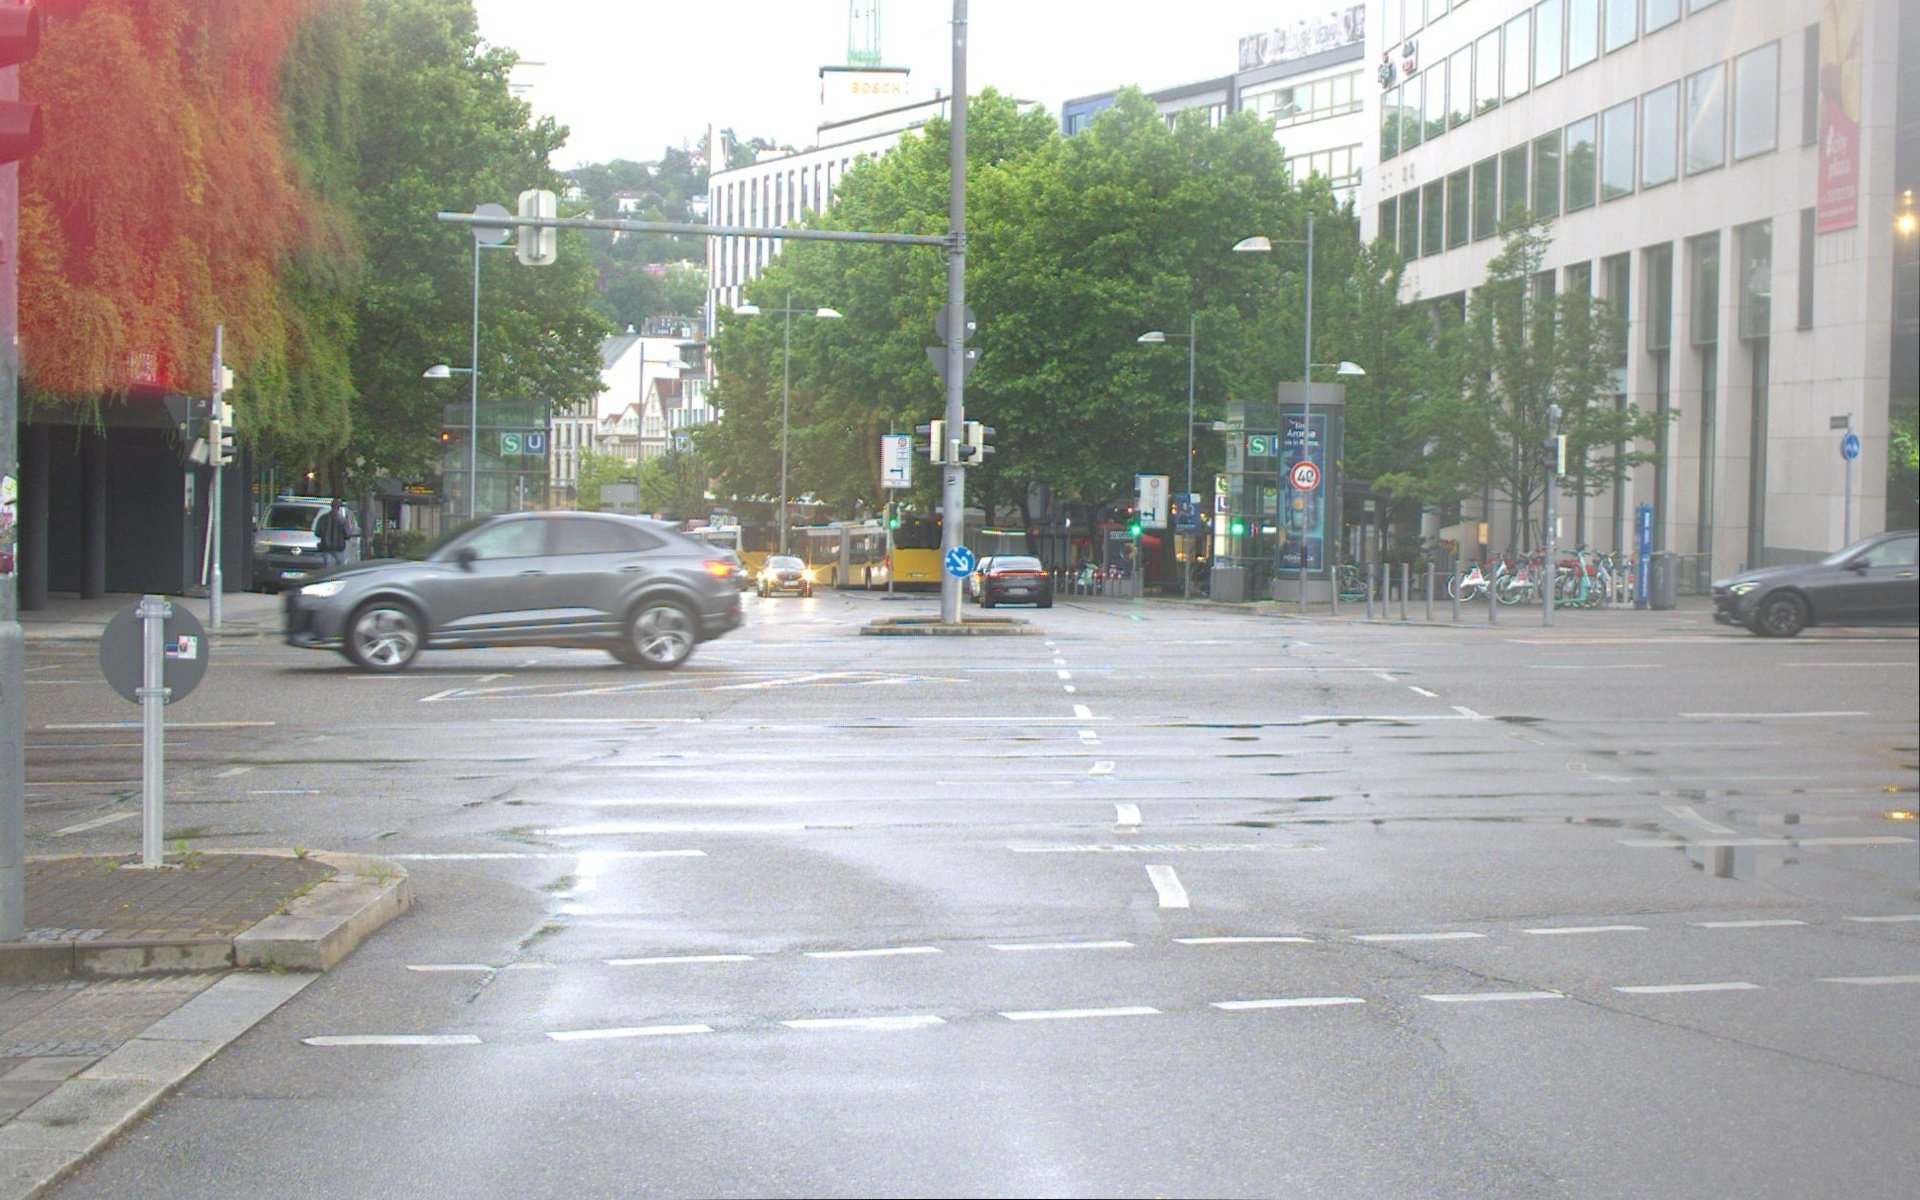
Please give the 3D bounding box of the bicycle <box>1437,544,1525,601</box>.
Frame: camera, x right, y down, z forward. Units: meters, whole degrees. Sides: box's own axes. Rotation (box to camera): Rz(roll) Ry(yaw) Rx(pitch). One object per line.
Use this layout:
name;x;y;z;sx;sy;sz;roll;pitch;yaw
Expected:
bicycle;11.123;-0.590;73.420;1.777;1.190;0.586;1;0;2

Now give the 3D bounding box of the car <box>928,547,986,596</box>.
car;-0.109;-0.922;109.527;1.781;1.503;4.000;1;1;-1

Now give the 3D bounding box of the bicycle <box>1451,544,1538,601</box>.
bicycle;11.551;-0.593;74.337;1.777;1.190;0.586;1;0;2

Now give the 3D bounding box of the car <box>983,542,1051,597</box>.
car;1.585;-0.857;96.567;1.781;1.503;4.000;1;1;-1

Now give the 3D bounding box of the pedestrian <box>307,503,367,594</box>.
pedestrian;-11.342;-0.942;62.633;0.933;1.638;0.774;1;0;-1

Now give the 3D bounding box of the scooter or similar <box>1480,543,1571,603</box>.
scooter or similar;11.668;-0.558;70.994;1.777;1.190;0.586;1;0;2

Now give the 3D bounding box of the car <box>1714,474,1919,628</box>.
car;12.605;-0.640;46.221;4.654;2.007;1.549;1;0;6

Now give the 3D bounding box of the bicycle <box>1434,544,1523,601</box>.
bicycle;10.975;-0.586;72.785;1.777;1.190;0.586;1;0;2

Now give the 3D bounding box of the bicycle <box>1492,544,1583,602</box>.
bicycle;12.022;-0.559;71.616;1.777;1.190;0.586;1;0;2

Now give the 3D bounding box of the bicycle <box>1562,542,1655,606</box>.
bicycle;12.234;-0.489;64.854;1.624;1.190;0.586;1;0;26

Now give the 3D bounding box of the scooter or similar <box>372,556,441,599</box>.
scooter or similar;-13.287;-0.540;82.557;0.623;1.001;1.657;1;1;38

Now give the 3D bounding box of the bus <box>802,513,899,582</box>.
bus;-4.920;-2.360;153.097;2.627;2.985;7.451;0;1;-16

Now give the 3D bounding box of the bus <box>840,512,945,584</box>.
bus;-2.906;-2.220;145.951;2.627;2.985;7.451;0;1;-16

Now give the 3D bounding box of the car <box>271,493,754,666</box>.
car;-4.423;-0.196;33.816;4.473;1.603;1.832;1;1;-16

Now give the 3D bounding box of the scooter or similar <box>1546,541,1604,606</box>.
scooter or similar;11.480;-0.492;64.170;0.963;1.190;0.454;1;1;40

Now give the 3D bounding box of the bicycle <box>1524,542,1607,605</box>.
bicycle;11.691;-0.512;66.406;0.584;1.190;1.784;1;1;-28

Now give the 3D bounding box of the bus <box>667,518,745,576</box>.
bus;-13.379;-2.814;180.338;2.627;2.985;7.451;0;1;-16

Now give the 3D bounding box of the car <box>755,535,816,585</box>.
car;-6.357;-1.447;124.864;2.164;1.759;5.113;0;1;-3

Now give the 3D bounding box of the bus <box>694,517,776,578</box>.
bus;-11.364;-2.654;173.242;2.627;2.985;7.330;0;1;-16

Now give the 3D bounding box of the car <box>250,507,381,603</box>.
car;-12.779;-0.890;68.339;1.870;1.833;4.000;1;1;-1

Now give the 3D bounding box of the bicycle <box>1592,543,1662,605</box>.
bicycle;12.995;-0.499;66.964;0.586;1.190;1.779;1;1;38
